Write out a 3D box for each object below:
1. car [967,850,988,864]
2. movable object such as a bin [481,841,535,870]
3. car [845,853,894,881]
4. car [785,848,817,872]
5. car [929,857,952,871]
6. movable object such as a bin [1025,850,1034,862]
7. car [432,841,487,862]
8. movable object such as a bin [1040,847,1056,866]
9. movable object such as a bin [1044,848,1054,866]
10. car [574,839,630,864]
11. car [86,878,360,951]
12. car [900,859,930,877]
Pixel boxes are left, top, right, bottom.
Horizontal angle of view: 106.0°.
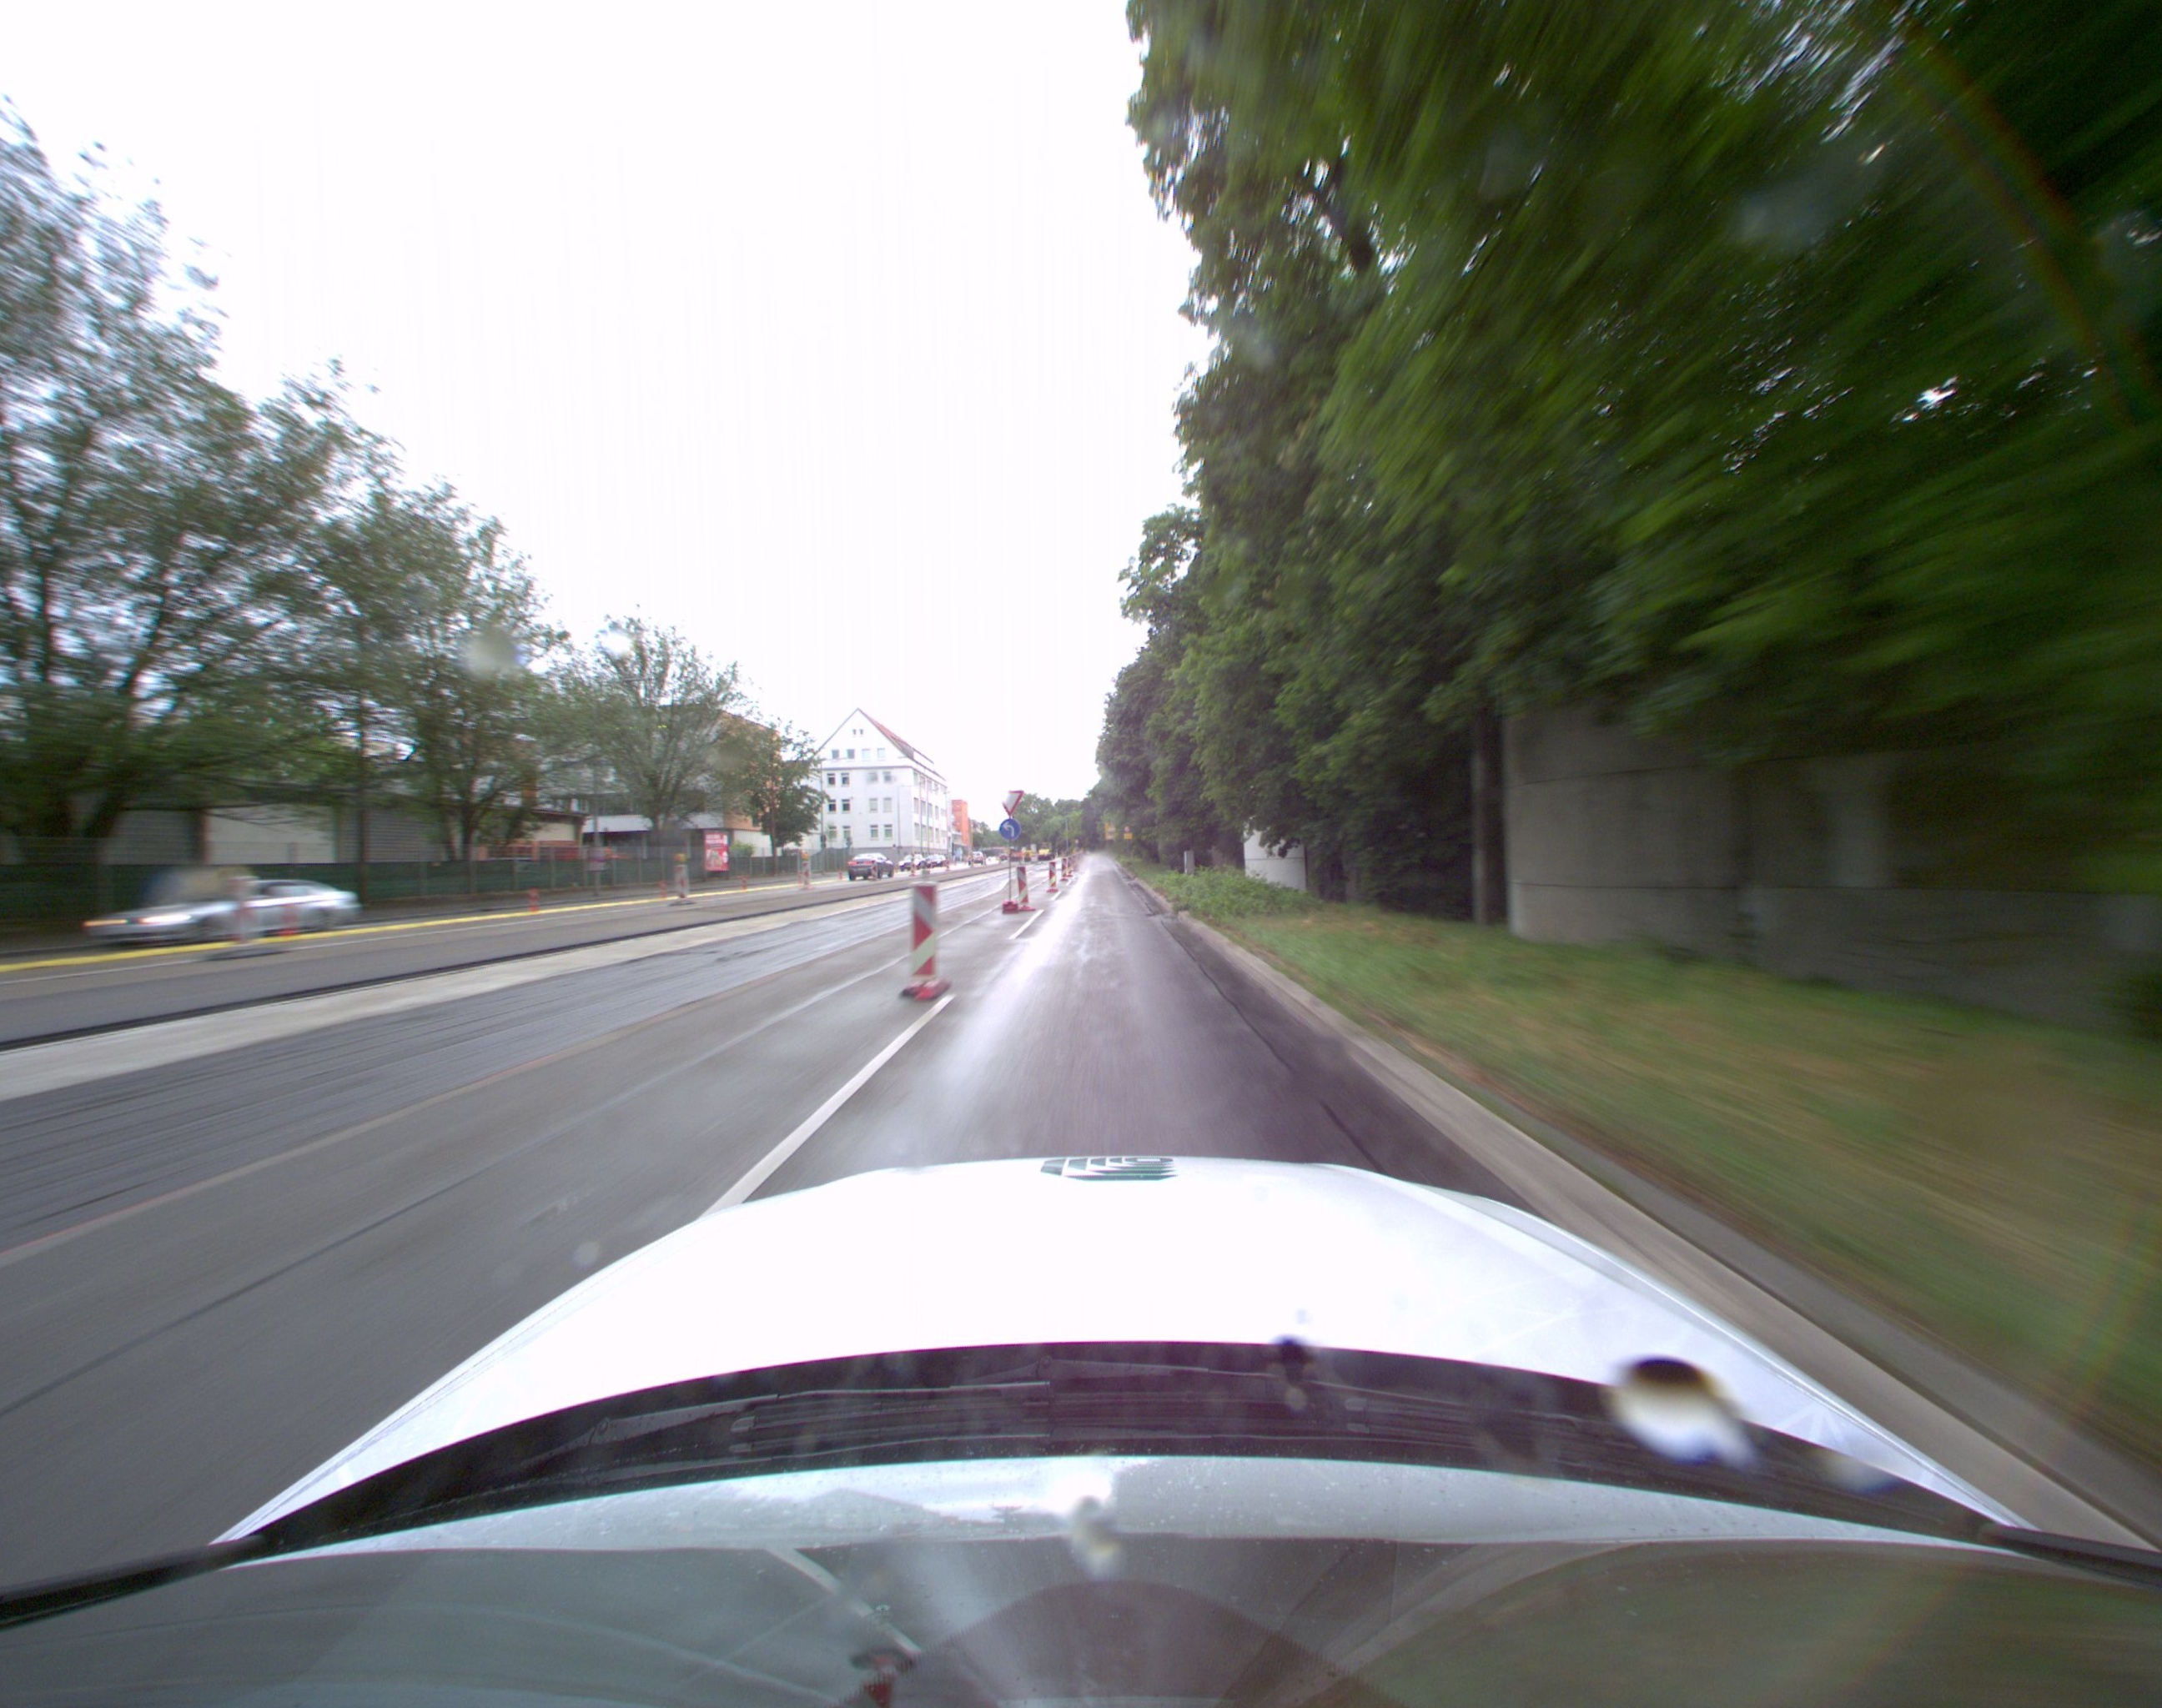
[{"bbox_3d":[-12.867,0.363,101.250,1.885,1.650,4.397,-1,0,2],"label":"car"},{"bbox_3d":[-32.452,0.123,46.112,3.973,1.527,1.764,-2,0,44],"label":"movable object such as a bin"},{"bbox_3d":[-13.661,0.819,52.804,1.885,1.650,4.397,-1,0,2],"label":"car"},{"bbox_3d":[-27.093,0.543,78.820,1.605,2.170,4.000,-2,0,0],"label":"car"},{"bbox_3d":[-16.030,1.158,93.168,1.852,1.475,3.733,-4,0,1],"label":"car"},{"bbox_3d":[-7.200,0.302,113.919,1.080,1.644,2.438,-2,0,0],"label":"movable object such as a bin"},{"bbox_3d":[-34.017,-0.129,44.535,3.973,1.062,1.764,-2,0,44],"label":"car"},{"bbox_3d":[-4.935,0.362,122.417,1.895,2.609,5.383,-2,0,1],"label":"movable object such as a bin"},{"bbox_3d":[-5.438,0.463,137.703,1.461,3.008,3.723,-4,0,-1],"label":"movable object such as a bin"},{"bbox_3d":[-32.808,-0.158,55.777,3.971,1.527,2.013,-2,0,39],"label":"car"},{"bbox_3d":[-20.116,1.339,19.453,1.660,1.315,4.457,-4,0,2],"label":"car"},{"bbox_3d":[-16.346,1.358,80.587,1.852,1.619,4.366,-4,0,1],"label":"car"}]
